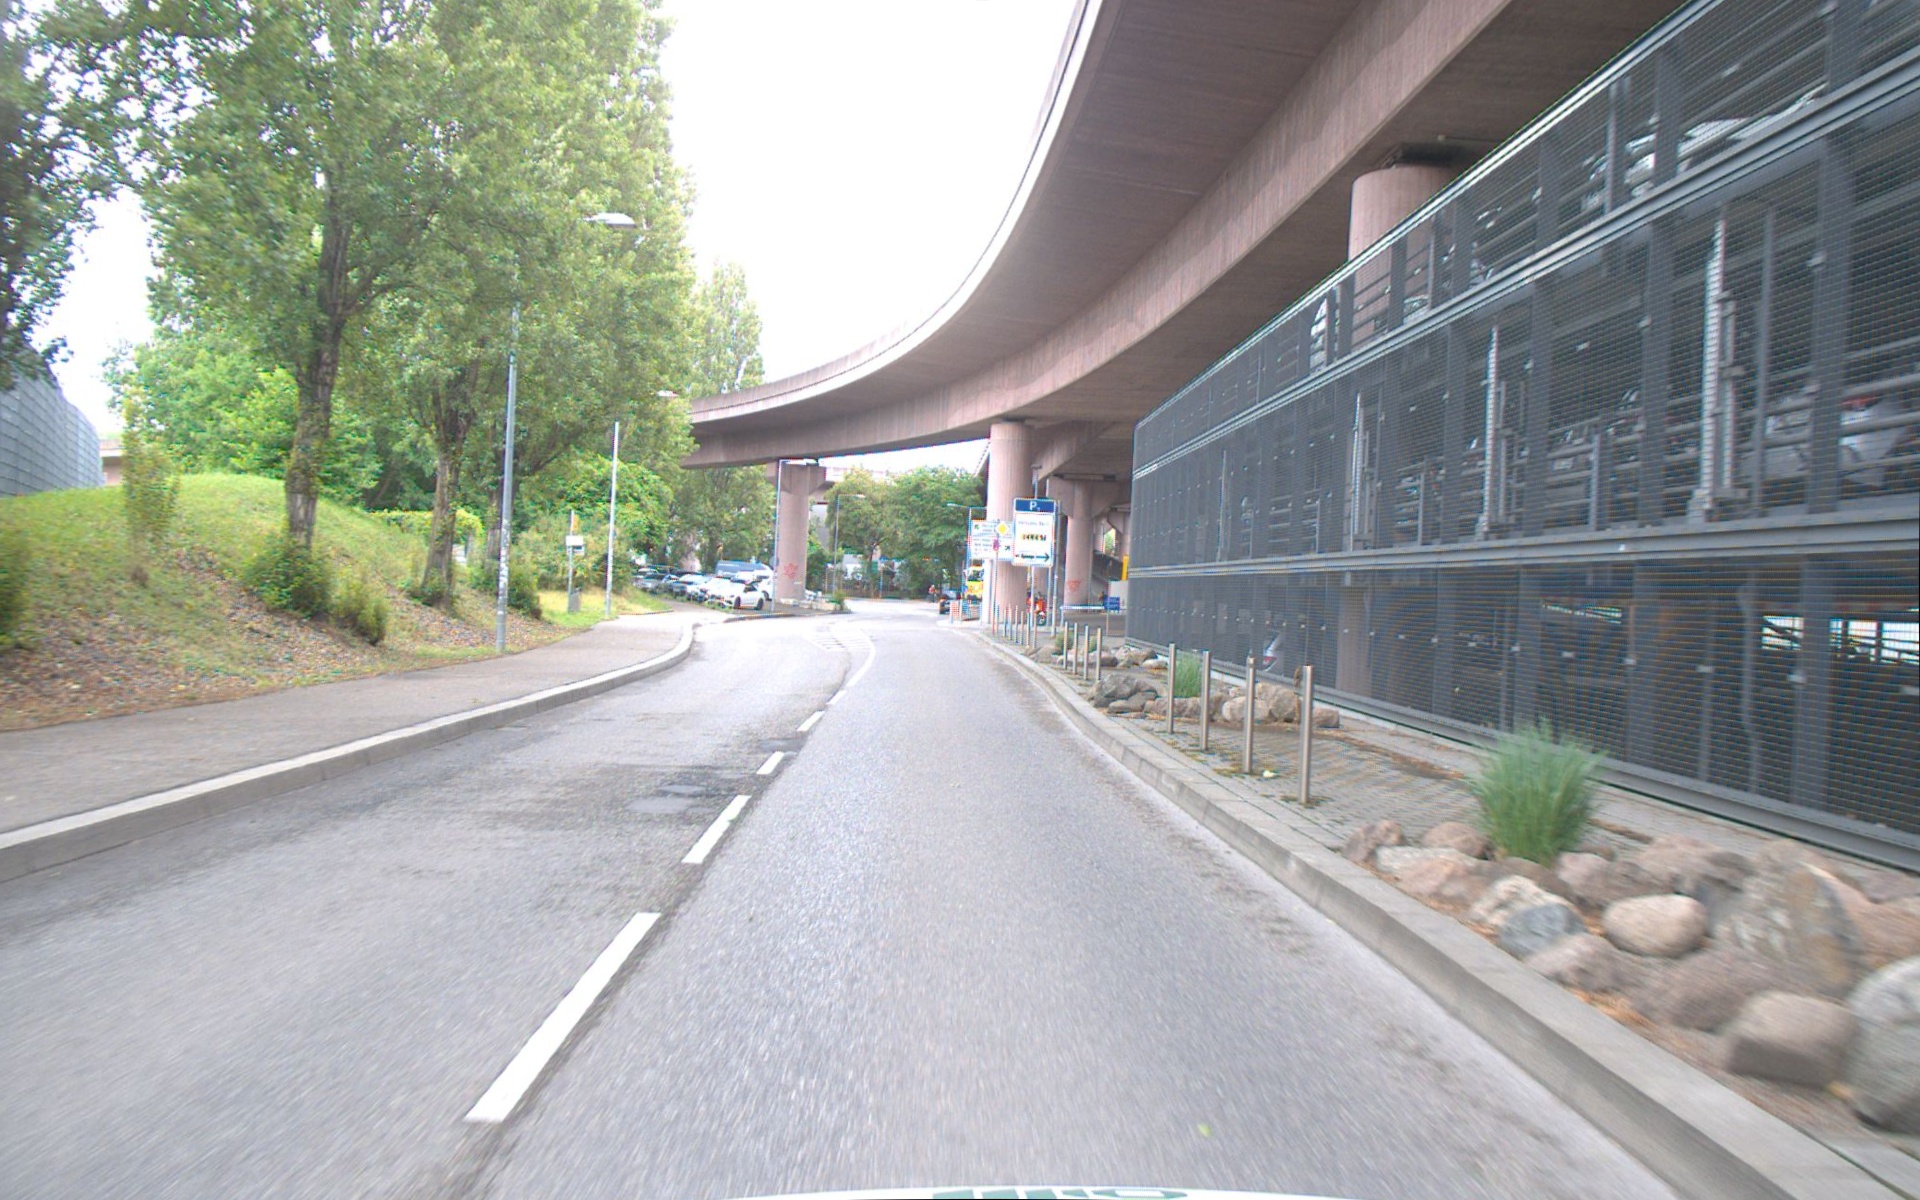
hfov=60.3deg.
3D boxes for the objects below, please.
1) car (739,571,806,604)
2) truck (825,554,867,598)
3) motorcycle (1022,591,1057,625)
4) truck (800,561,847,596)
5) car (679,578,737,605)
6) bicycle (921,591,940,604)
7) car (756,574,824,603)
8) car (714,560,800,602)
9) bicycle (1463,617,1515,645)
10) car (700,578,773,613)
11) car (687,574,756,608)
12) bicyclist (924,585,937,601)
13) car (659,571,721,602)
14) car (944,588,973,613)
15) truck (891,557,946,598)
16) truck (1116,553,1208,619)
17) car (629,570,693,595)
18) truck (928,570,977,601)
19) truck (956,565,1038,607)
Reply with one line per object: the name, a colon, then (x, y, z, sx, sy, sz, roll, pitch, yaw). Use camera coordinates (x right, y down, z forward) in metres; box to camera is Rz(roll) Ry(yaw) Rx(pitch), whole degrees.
car: (-13.847, -0.941, 122.095, 4.460, 2.147, 1.852, 4, 0, 7)
truck: (-13.469, -2.842, 194.980, 3.152, 4.862, 8.012, 1, 2, -17)
motorcycle: (3.431, 0.317, 71.192, 0.783, 1.390, 2.119, 1, 1, -18)
truck: (-15.806, -2.546, 191.085, 3.015, 3.681, 7.858, 1, 2, -24)
car: (-15.067, -0.515, 99.109, 1.750, 1.479, 3.746, 3, 0, 22)
bicycle: (-2.744, -0.251, 151.725, 0.794, 1.117, 2.107, 1, 0, -32)
car: (-11.961, -0.813, 116.264, 4.288, 1.633, 1.956, 5, 1, 11)
car: (-15.326, -1.463, 124.864, 6.049, 2.772, 2.368, 3, 1, 0)
bicycle: (22.294, 1.304, 69.696, 2.013, 1.041, 0.396, 3, 1, 4)
car: (-12.353, -0.234, 91.613, 1.953, 1.505, 4.829, 6, -1, 19)
car: (-13.721, -0.503, 95.452, 1.954, 1.609, 4.401, 7, 0, 19)
bicyclist: (-2.714, -0.676, 151.679, 0.788, 1.430, 1.055, 1, 0, -32)
car: (-16.601, -0.812, 101.746, 1.819, 1.720, 4.163, 3, 0, 22)
car: (-0.146, 0.037, 123.923, 1.954, 1.708, 4.558, 3, 0, -2)
truck: (-4.362, -2.373, 171.056, 3.023, 3.934, 7.996, 1, 2, -22)
truck: (16.628, -1.108, 135.614, 3.091, 5.003, 8.669, 2, 0, 40)
car: (-20.184, -1.146, 111.838, 1.820, 1.513, 4.888, 5, 2, 22)
truck: (-0.836, -1.540, 172.333, 2.875, 2.949, 6.516, 1, 2, -22)
truck: (3.509, -1.365, 154.261, 2.885, 3.540, 8.198, 6, 5, 41)
